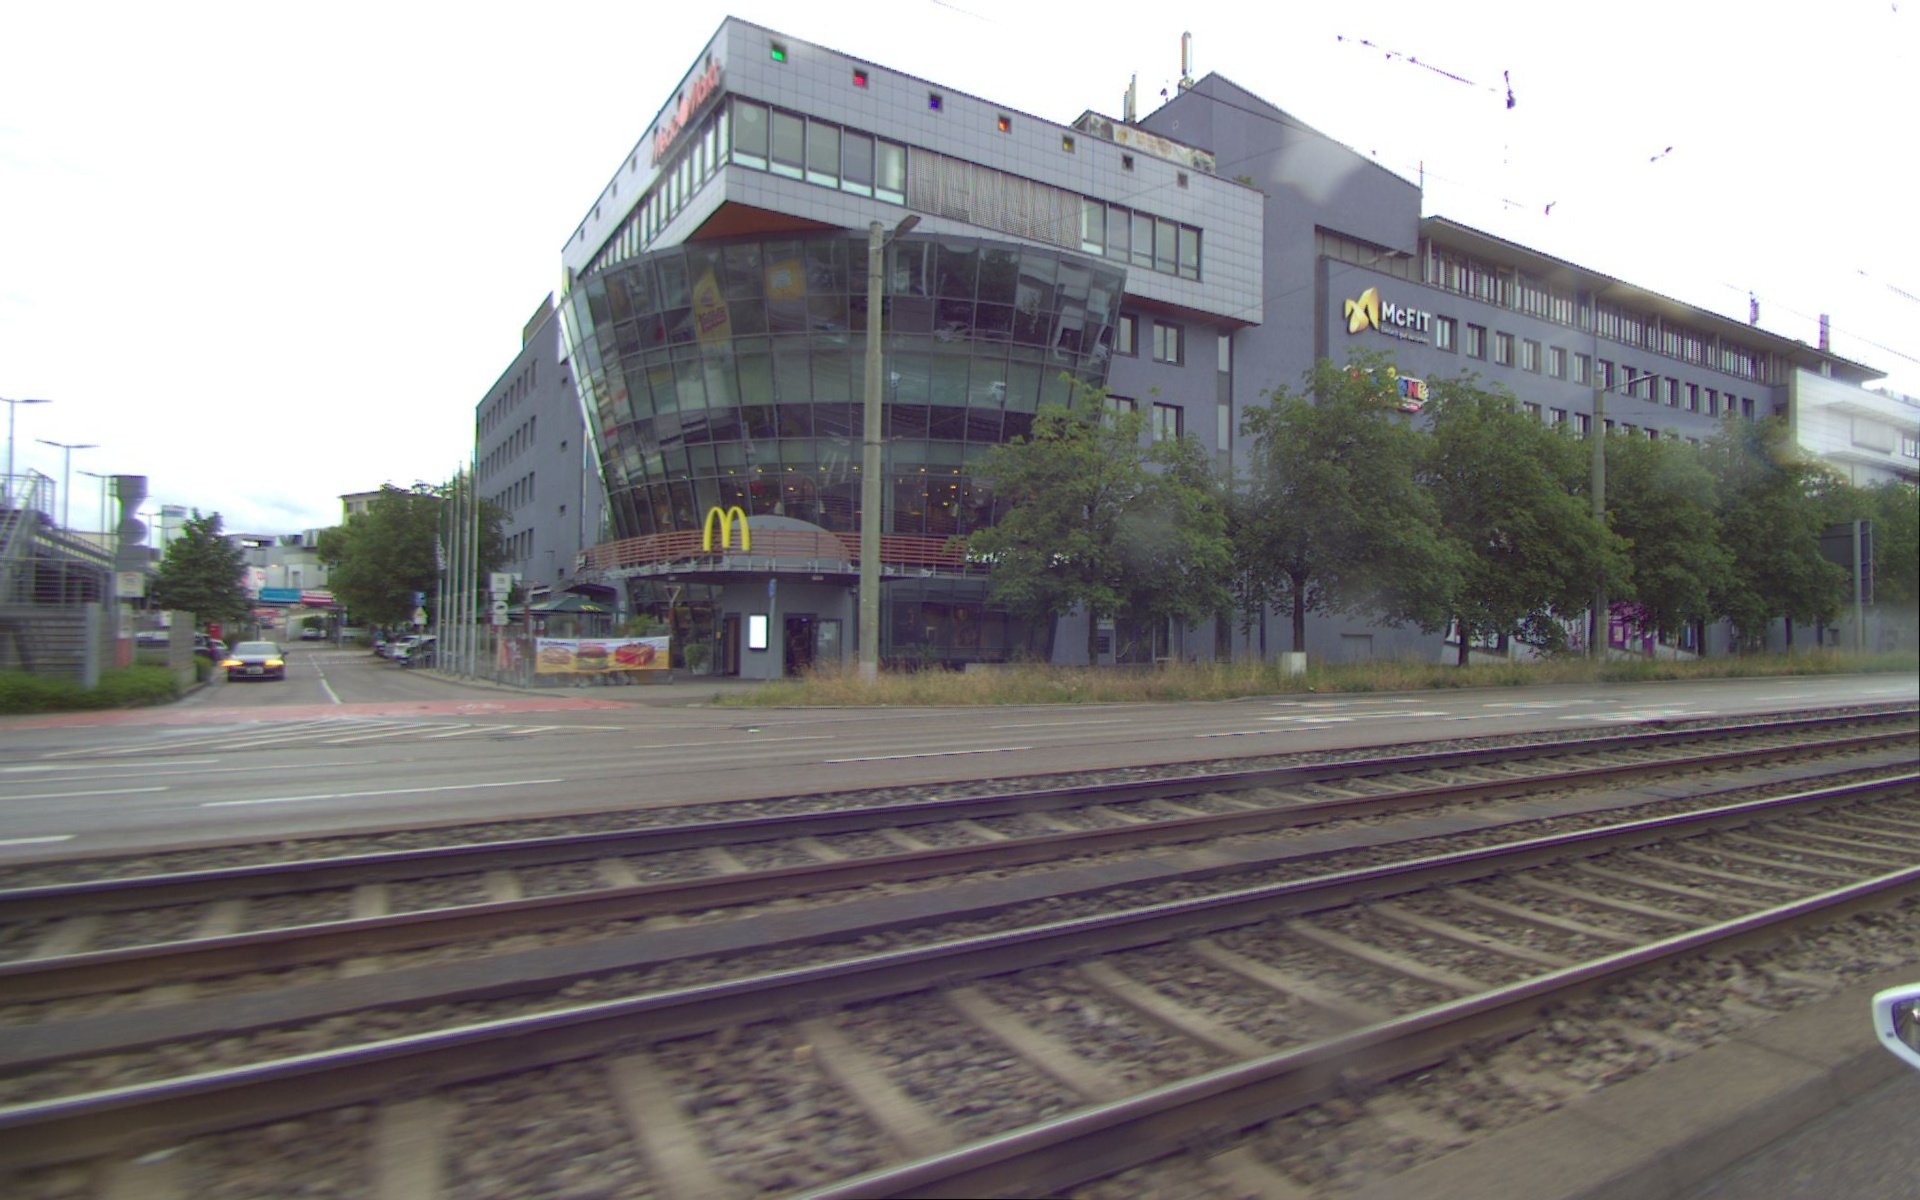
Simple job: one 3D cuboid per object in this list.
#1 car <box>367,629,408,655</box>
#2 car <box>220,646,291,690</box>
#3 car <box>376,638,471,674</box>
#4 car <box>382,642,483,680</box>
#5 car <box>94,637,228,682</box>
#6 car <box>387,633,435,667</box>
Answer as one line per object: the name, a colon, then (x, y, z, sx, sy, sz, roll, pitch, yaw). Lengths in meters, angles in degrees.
car: (-39.511, 2.869, 69.239, 1.981, 1.499, 4.121, 1, 1, -36)
car: (-25.205, 2.464, 36.029, 1.710, 1.483, 3.969, 1, -5, -30)
car: (-27.064, 2.791, 50.718, 3.970, 1.591, 1.745, 1, 1, -42)
car: (-25.156, 2.868, 47.957, 3.970, 1.591, 1.745, 1, 1, -42)
car: (-32.644, 2.397, 41.123, 1.755, 1.647, 3.985, 0, 0, 37)
car: (-33.166, 2.976, 60.623, 1.981, 1.764, 3.958, 1, 1, -36)
